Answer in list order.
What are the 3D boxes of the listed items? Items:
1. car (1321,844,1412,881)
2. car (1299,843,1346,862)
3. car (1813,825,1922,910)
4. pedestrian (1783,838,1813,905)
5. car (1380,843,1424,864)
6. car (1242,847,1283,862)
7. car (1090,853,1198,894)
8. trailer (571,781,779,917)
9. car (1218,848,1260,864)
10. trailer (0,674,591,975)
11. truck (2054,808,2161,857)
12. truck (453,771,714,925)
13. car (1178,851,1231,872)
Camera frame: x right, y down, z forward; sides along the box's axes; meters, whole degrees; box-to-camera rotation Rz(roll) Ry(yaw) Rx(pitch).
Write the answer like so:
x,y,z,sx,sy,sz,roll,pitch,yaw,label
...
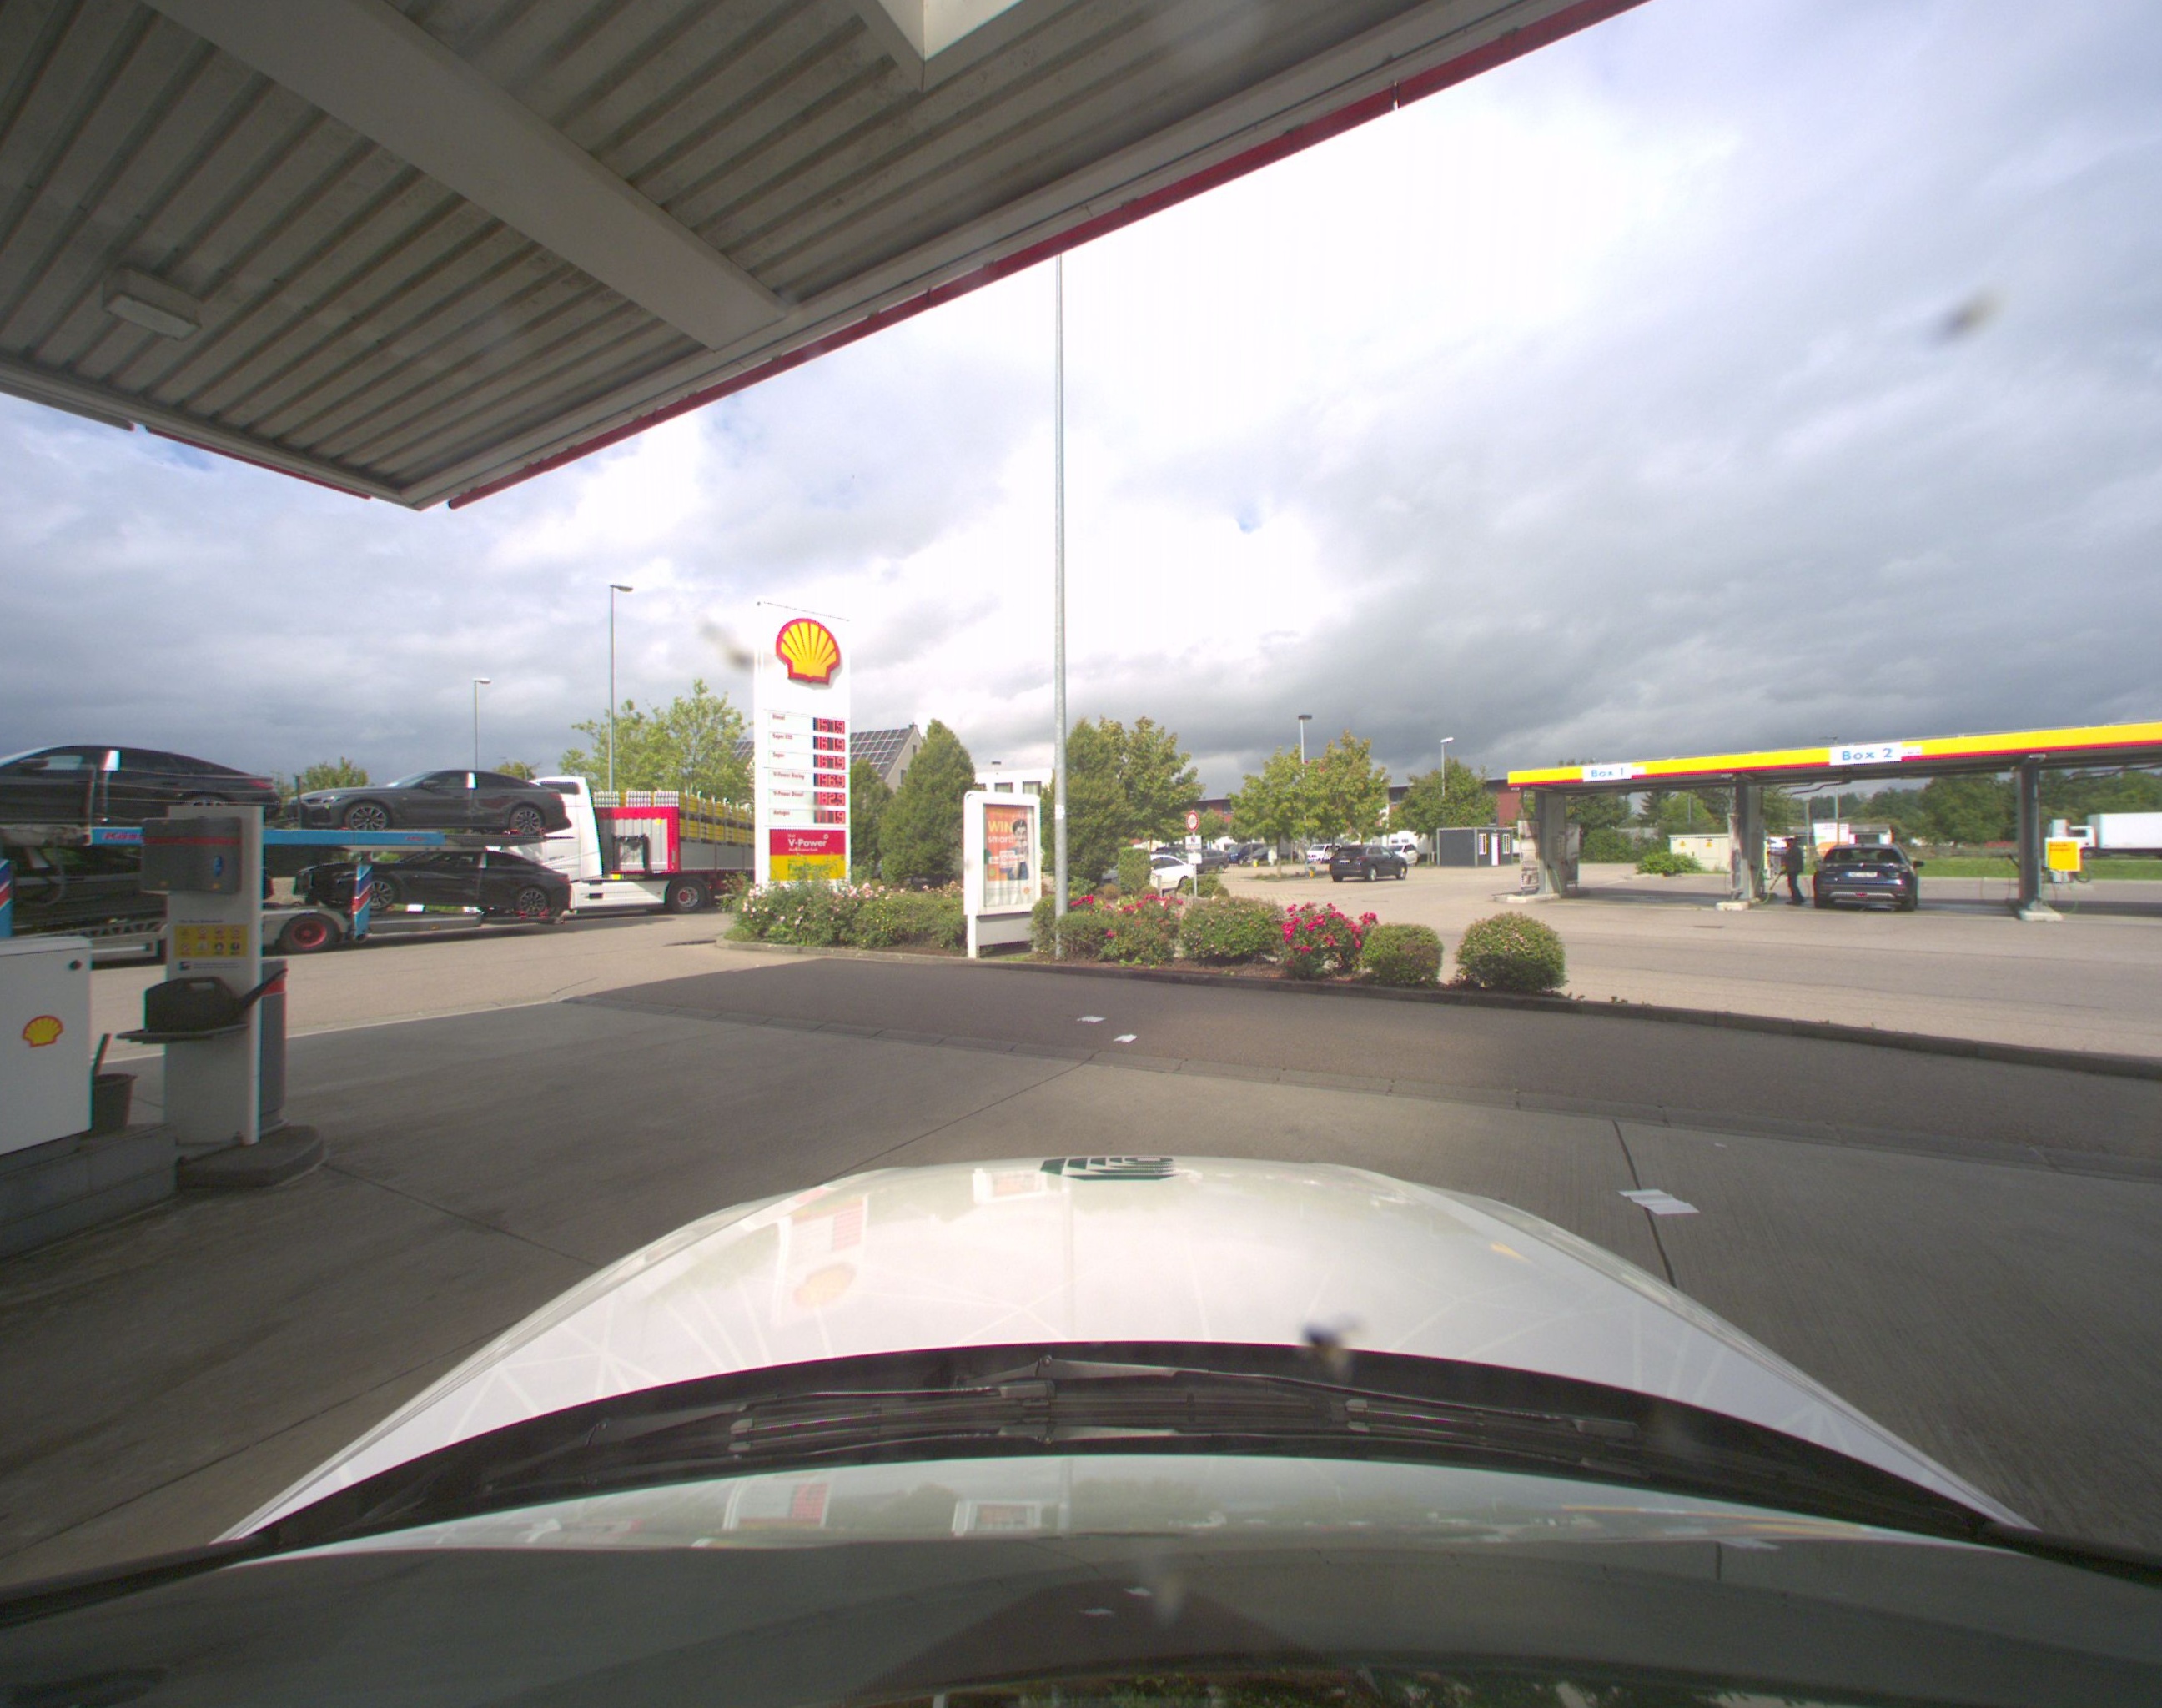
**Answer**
x,y,z,sx,sy,sz,roll,pitch,yaw,label
12.868,0.372,36.568,4.527,1.548,1.864,0,-1,-41,car
23.866,-0.122,80.257,4.903,1.833,2.159,0,-1,-41,car
19.430,0.313,20.063,3.828,1.897,1.703,0,-1,-43,car
18.695,0.456,21.240,0.551,1.722,0.531,-1,-1,40,pedestrian
20.599,-0.048,52.204,3.120,1.307,1.352,0,-1,-42,car
14.484,0.034,64.864,3.437,1.179,1.468,0,-1,-42,car
2.386,0.680,30.009,4.368,1.404,1.354,0,-1,-42,car
-13.687,-0.089,29.119,2.729,3.776,12.676,0,-1,-8,trailer
12.942,0.181,66.648,3.407,1.320,1.726,0,-1,-42,car
-16.443,-0.418,13.673,2.711,4.423,14.450,-1,-1,31,trailer
78.223,-1.556,59.996,7.989,3.534,2.714,-1,-1,41,truck
-14.166,-0.133,23.486,2.707,3.846,5.953,-1,-1,45,truck
7.532,0.447,49.694,3.245,1.228,1.488,0,-1,-42,car
